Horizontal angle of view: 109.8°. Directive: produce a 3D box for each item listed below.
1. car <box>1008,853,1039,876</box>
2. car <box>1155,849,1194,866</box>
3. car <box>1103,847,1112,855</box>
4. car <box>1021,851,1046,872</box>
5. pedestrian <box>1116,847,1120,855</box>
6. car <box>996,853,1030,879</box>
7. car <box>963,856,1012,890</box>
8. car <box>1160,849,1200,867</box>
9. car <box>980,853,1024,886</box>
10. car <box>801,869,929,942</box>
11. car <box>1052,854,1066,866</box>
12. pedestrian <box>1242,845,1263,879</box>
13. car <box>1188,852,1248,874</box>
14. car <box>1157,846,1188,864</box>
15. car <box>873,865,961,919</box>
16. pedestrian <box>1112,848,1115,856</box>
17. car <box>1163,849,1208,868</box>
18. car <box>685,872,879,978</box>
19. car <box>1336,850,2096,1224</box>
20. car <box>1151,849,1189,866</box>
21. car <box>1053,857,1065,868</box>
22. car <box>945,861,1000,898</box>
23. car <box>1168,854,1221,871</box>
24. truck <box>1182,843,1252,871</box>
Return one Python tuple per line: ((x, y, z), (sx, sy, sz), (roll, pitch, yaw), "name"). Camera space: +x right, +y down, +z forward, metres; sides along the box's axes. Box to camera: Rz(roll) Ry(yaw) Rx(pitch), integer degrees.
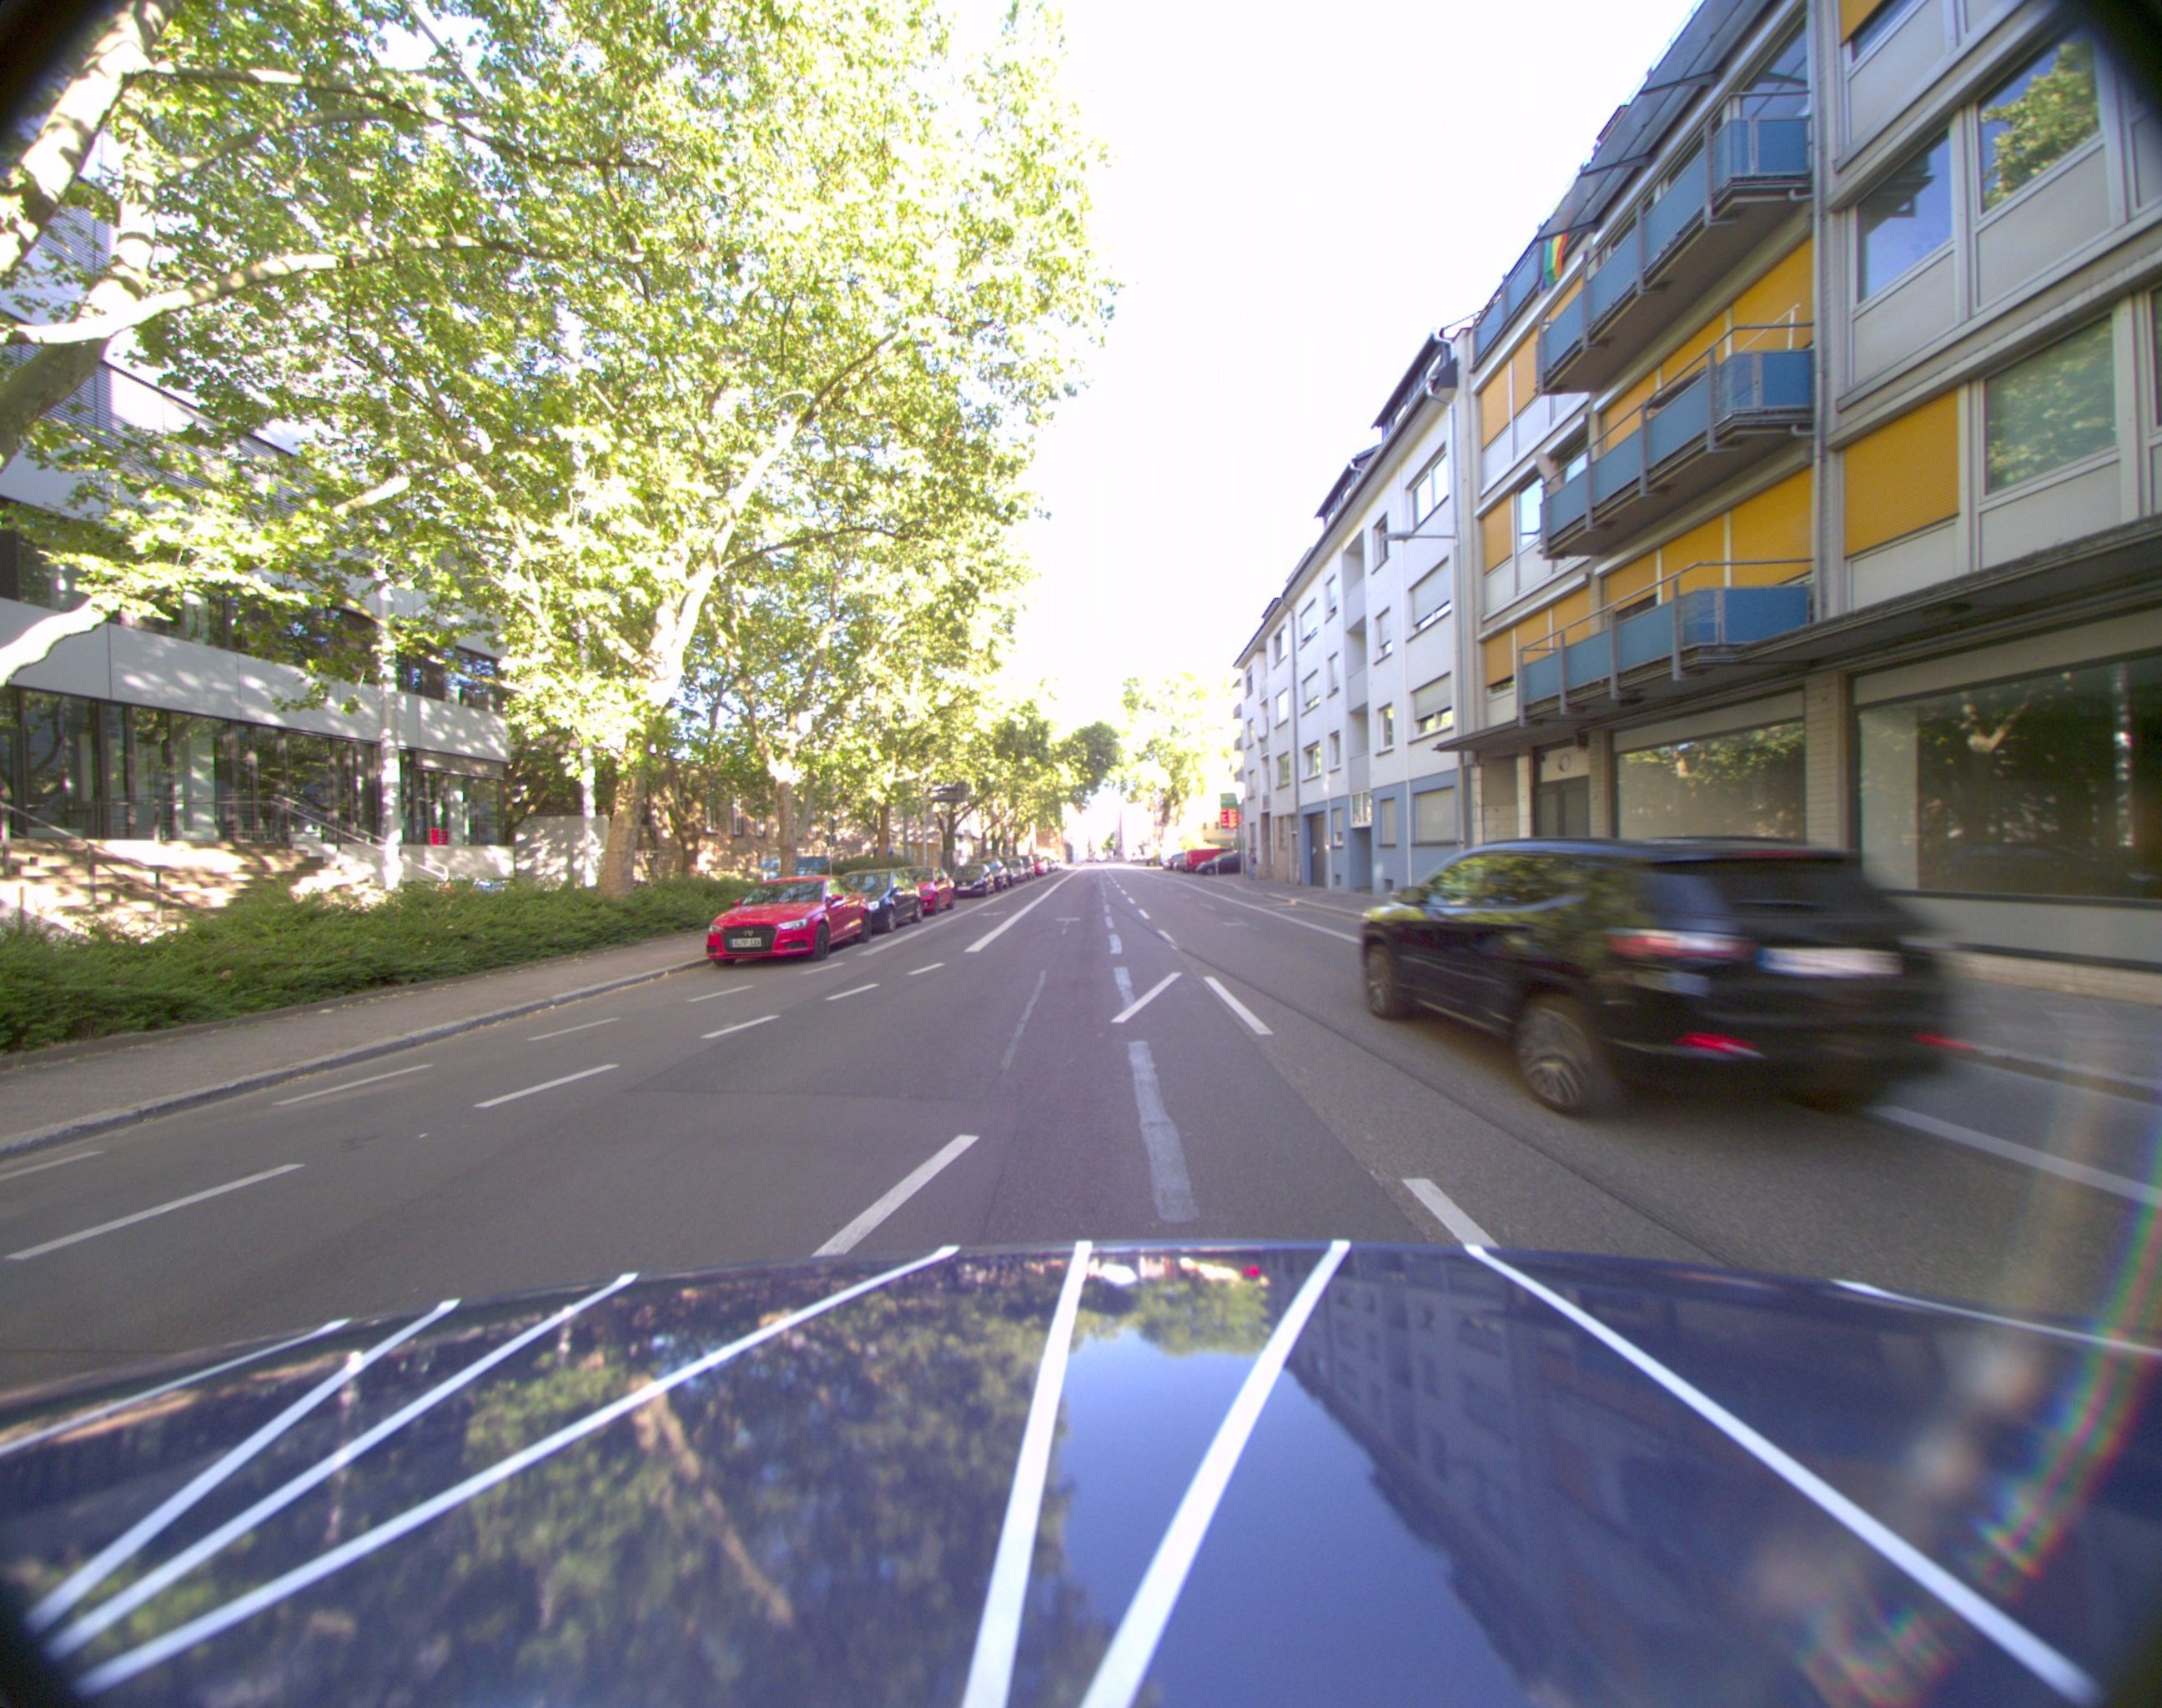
((-4.172, 0.747, 55.517), (1.831, 1.608, 4.177), (-1, 0, 1), "car")
((9.612, 0.375, 78.576), (3.703, 1.573, 1.718), (-2, 1, -5), "car")
((6.757, -0.809, 193.469), (1.998, 2.002, 3.999), (-2, 1, 1), "car")
((-4.111, 0.610, 66.187), (1.876, 1.685, 4.166), (-1, 0, 1), "car")
((9.657, -0.811, 197.426), (0.535, 2.002, 0.769), (-1, 2, 42), "pedestrian")
((-4.443, 0.735, 50.461), (1.798, 1.608, 4.075), (-1, 0, 1), "car")
((-4.625, 0.918, 38.217), (1.848, 1.572, 4.232), (-1, 0, 1), "car")
((9.876, 0.379, 75.918), (3.658, 1.578, 1.659), (-2, 1, -5), "car")
((-4.547, 0.865, 44.200), (1.998, 1.715, 4.262), (-2, 1, 1), "car")
((-5.053, 1.143, 18.353), (1.813, 1.449, 4.000), (-1, 0, 2), "car")
((-2.990, 0.810, 102.788), (1.707, 1.459, 3.809), (-1, 0, 0), "car")
((9.020, 0.410, 40.064), (0.896, 1.761, 0.741), (-2, 1, 1), "pedestrian")
((9.847, 0.628, 54.837), (3.997, 1.385, 1.781), (-2, 1, -1), "car")
((10.227, 0.104, 85.274), (3.267, 1.927, 1.693), (-2, 1, 2), "car")
((-5.002, 1.119, 23.705), (1.790, 1.429, 4.000), (-1, 0, 1), "car")
((8.455, -0.561, 198.700), (0.613, 1.981, 0.711), (-2, 1, 26), "pedestrian")
((10.079, 0.399, 73.371), (3.998, 1.618, 1.702), (-2, 1, -5), "car")
((-5.116, 1.139, 13.678), (1.775, 1.416, 4.173), (-3, 0, 0), "car")
((3.547, 0.797, 5.542), (1.854, 1.561, 4.384), (-2, 1, 0), "car")
((9.482, 0.371, 80.868), (3.728, 1.579, 1.743), (-2, 1, -5), "car")
((-2.632, 1.022, 92.332), (1.300, 1.220, 3.241), (-1, 0, 0), "car")
((-4.679, 1.080, 33.270), (1.745, 1.430, 4.000), (-1, 0, 1), "car")
((9.352, 0.689, 62.823), (4.033, 1.265, 1.906), (-2, 1, -1), "car")
((10.724, 0.237, 60.104), (5.088, 2.009, 2.000), (-2, 1, 0), "truck")
